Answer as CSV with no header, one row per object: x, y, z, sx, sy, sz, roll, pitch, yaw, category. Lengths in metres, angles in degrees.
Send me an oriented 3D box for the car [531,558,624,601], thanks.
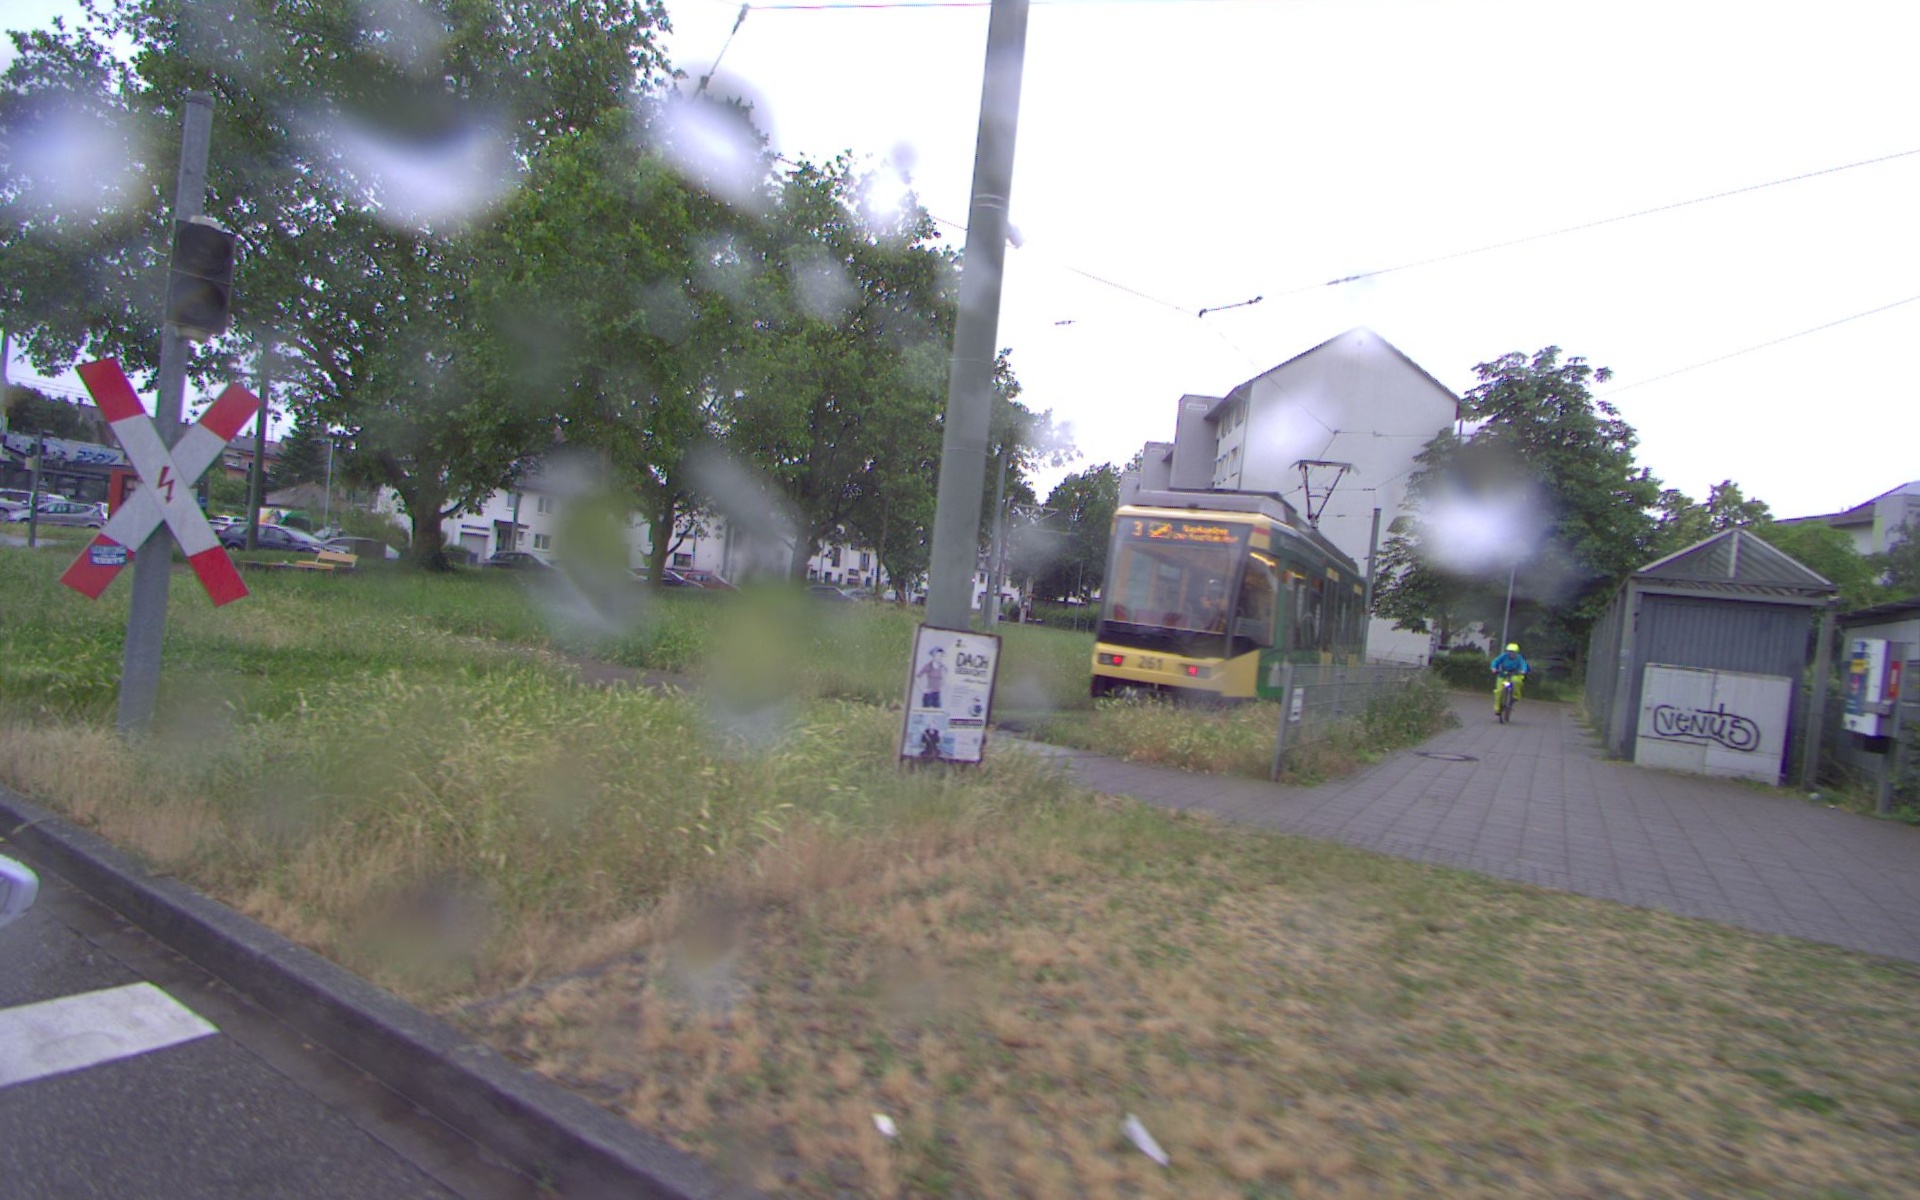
-18.564,-0.973,48.993,3.854,1.513,1.806,8,-2,-14,car

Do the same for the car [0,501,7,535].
-48.012,-4.155,48.659,1.828,1.659,3.968,8,-2,-32,car

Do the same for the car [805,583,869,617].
-8.268,0.028,67.866,3.843,1.785,1.812,7,-2,1,car

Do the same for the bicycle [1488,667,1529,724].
11.606,2.002,21.330,0.590,1.080,2.030,6,0,27,bicycle

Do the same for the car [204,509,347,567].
-25.347,-2.263,37.377,3.854,1.513,1.806,8,-2,-14,car

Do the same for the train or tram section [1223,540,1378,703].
8.721,0.505,26.369,2.716,3.599,4.987,6,1,10,train or tram section

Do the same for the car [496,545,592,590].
-19.201,-1.475,46.471,3.867,1.513,1.800,8,-2,-25,car

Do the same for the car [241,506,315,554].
-42.346,-4.326,62.410,4.281,2.471,1.997,6,-2,31,car

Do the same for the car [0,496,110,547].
-42.351,-3.638,46.866,1.859,1.720,3.691,6,-2,33,car

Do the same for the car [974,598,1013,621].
3.233,0.931,95.508,1.966,1.681,3.996,6,-2,30,car

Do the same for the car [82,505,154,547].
-45.704,-4.034,54.602,3.939,1.811,1.995,5,-2,37,car

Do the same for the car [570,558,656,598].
-17.684,-1.102,51.365,3.854,1.513,1.806,8,-2,-14,car

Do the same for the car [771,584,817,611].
-15.808,-0.250,95.764,1.968,2.059,3.993,6,-2,33,car

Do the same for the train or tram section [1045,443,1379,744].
5.510,0.183,18.595,2.721,3.597,13.113,6,0,27,train or tram section

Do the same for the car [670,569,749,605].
-14.268,-0.726,57.418,3.842,1.513,1.812,7,-2,4,car

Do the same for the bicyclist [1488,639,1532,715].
11.534,1.615,21.111,0.626,1.491,1.107,6,-1,27,bicyclist

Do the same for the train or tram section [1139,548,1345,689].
8.813,0.520,33.657,2.719,3.597,12.198,6,0,-2,train or tram section

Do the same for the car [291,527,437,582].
-21.033,-1.573,35.611,1.820,1.300,3.986,5,-3,39,car

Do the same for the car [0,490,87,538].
-50.405,-4.710,54.584,1.966,1.973,3.996,6,-2,30,car

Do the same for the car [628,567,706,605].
-15.783,-0.744,54.378,3.854,1.513,1.806,8,-2,-14,car
